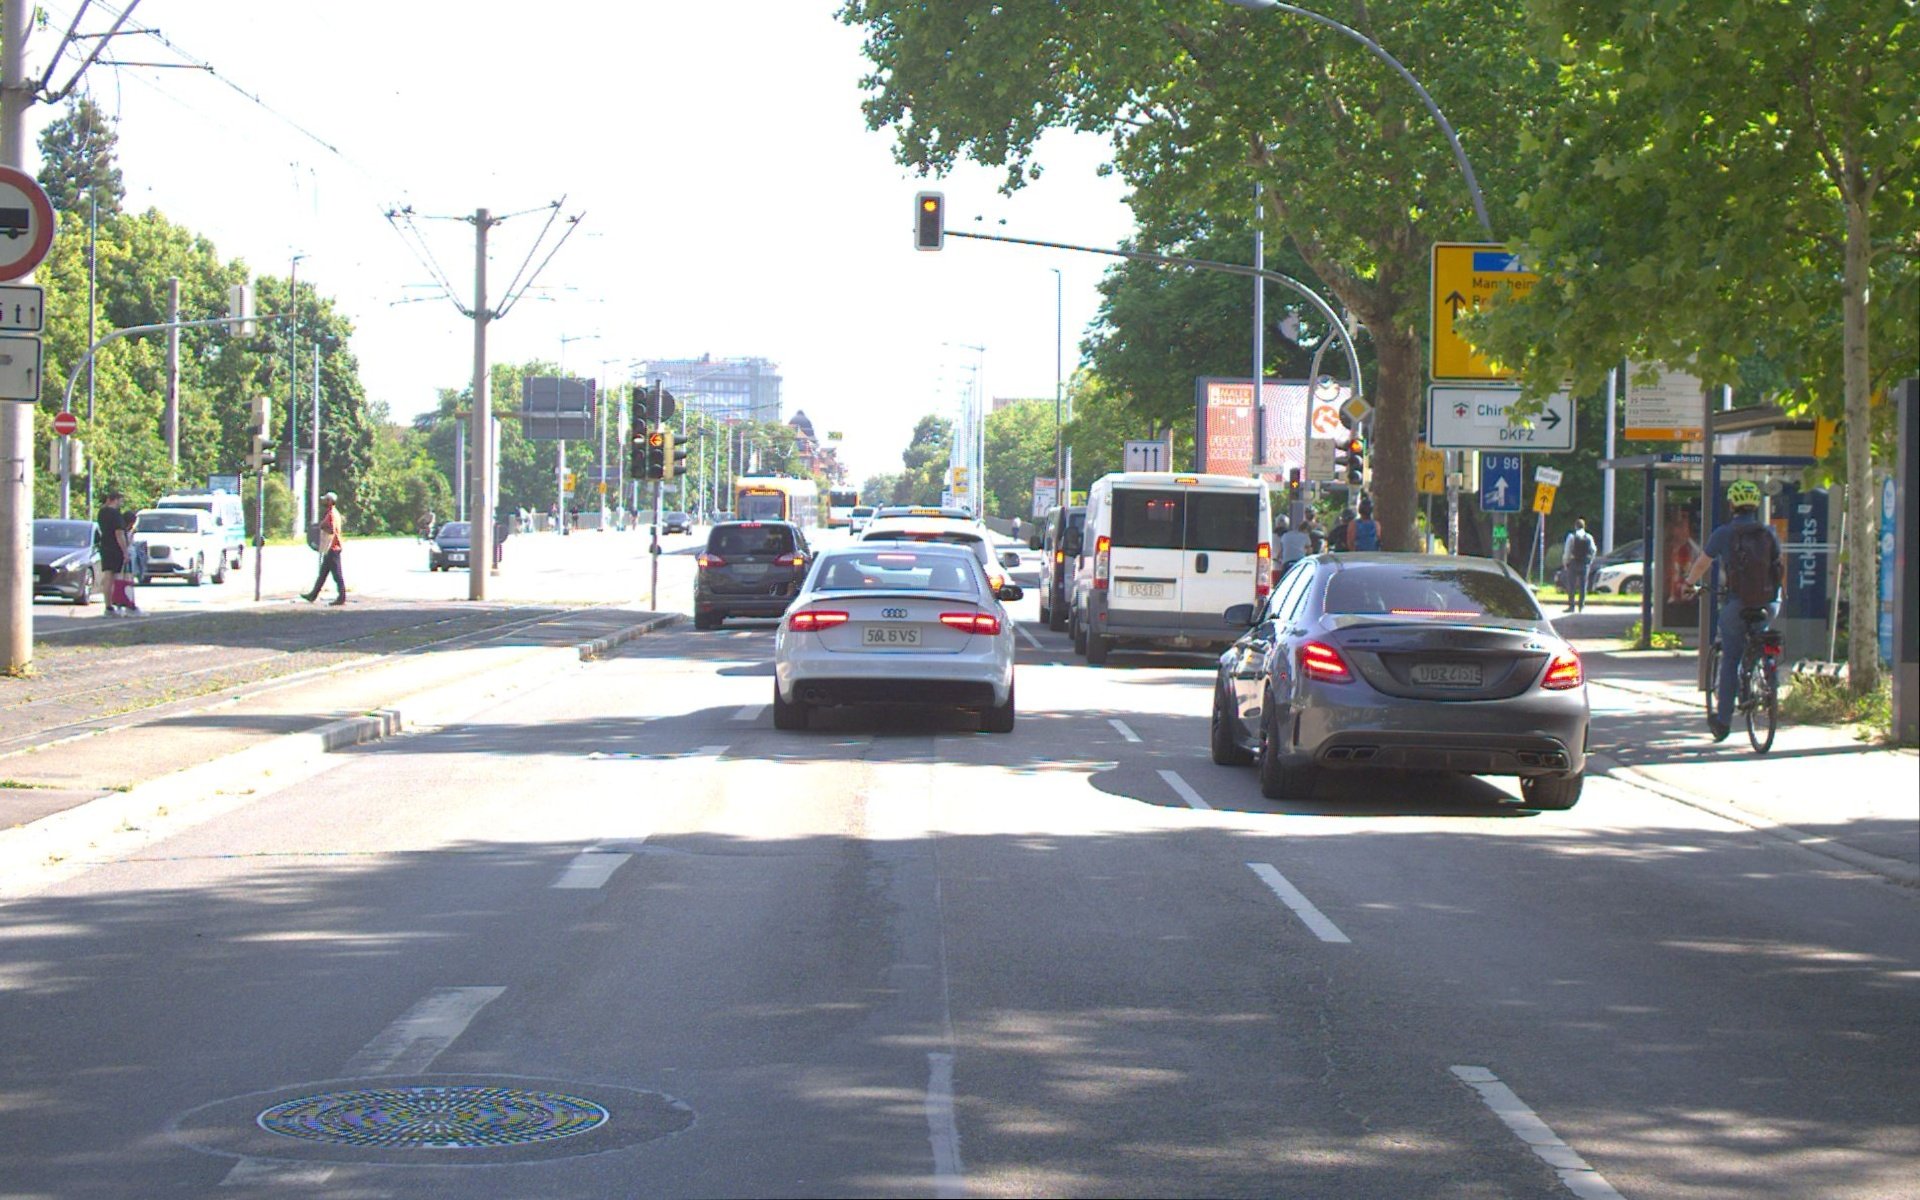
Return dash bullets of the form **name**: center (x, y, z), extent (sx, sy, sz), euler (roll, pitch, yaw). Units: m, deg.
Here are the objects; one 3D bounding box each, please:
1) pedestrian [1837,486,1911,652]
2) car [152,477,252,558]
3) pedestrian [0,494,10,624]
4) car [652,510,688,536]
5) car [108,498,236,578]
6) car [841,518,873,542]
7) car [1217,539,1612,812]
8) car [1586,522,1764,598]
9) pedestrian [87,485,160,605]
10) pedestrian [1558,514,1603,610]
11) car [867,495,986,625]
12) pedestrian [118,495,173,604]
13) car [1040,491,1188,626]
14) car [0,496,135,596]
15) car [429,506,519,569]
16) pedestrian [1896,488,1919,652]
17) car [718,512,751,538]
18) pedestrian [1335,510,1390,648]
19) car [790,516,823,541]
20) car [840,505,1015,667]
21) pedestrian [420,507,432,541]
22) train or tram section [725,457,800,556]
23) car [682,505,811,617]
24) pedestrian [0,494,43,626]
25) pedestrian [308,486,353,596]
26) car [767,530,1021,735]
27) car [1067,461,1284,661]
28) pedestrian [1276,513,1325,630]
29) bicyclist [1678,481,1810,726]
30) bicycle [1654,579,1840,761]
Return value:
- **pedestrian**: center (10.564, -0.366, 39.751), extent (0.613, 1.890, 0.694), euler (1, 1, -3)
- **car**: center (-23.081, -2.513, 104.807), extent (2.114, 2.374, 4.000), euler (1, 1, 0)
- **pedestrian**: center (-12.350, -0.525, 43.282), extent (0.593, 1.641, 0.554), euler (2, 1, 0)
- **car**: center (-18.468, -4.912, 218.955), extent (1.993, 1.635, 4.001), euler (1, 1, -2)
- **car**: center (-16.580, -1.313, 72.499), extent (1.763, 1.603, 3.860), euler (2, 1, 0)
- **car**: center (-6.969, -4.740, 232.954), extent (1.871, 1.603, 4.000), euler (2, 1, 2)
- **car**: center (2.620, 0.375, 20.683), extent (1.782, 1.415, 4.000), euler (2, 1, 0)
- **car**: center (16.773, -0.945, 80.763), extent (3.777, 1.666, 1.793), euler (2, 1, 1)
- **pedestrian**: center (-12.206, -0.804, 50.181), extent (0.775, 1.728, 0.754), euler (2, 1, 8)
- **pedestrian**: center (11.792, -0.728, 65.307), extent (0.778, 1.782, 0.763), euler (1, 1, 12)
- **car**: center (-0.515, -0.647, 53.274), extent (1.729, 1.895, 4.000), euler (2, 1, 0)
- **pedestrian**: center (-12.066, -0.749, 50.913), extent (0.537, 1.592, 0.577), euler (2, 1, 19)
- **car**: center (2.388, -0.673, 54.180), extent (2.072, 1.992, 4.058), euler (2, 1, 0)
- **car**: center (-15.450, -0.936, 58.439), extent (1.871, 1.603, 4.000), euler (2, 1, 0)
- **car**: center (-14.109, -1.821, 99.961), extent (1.993, 1.728, 4.000), euler (2, 1, 0)
- **pedestrian**: center (11.285, -0.352, 39.910), extent (0.613, 1.890, 0.598), euler (1, 1, -3)
- **car**: center (-14.864, -4.938, 226.495), extent (1.993, 1.635, 4.001), euler (1, 1, -2)
- **pedestrian**: center (5.715, -0.301, 48.866), extent (0.635, 1.939, 0.719), euler (2, 1, 0)
- **car**: center (-10.408, -4.856, 233.100), extent (1.871, 1.603, 4.000), euler (2, 1, 2)
- **car**: center (-0.344, -0.181, 36.809), extent (1.729, 1.599, 3.885), euler (2, 1, 0)
- **pedestrian**: center (-24.412, -3.480, 157.095), extent (0.420, 1.543, 0.552), euler (1, 1, 0)
- **train or tram section**: center (-8.340, -3.937, 145.832), extent (2.616, 4.001, 7.749), euler (2, 1, 0)
- **car**: center (-3.268, -0.626, 53.241), extent (1.729, 1.625, 4.000), euler (2, 1, 0)
- **pedestrian**: center (-12.132, -0.515, 44.196), extent (0.492, 1.673, 0.643), euler (2, 1, 0)
- **pedestrian**: center (-11.004, -1.033, 60.125), extent (0.624, 1.911, 0.690), euler (2, 1, 0)
- **car**: center (-0.487, 0.197, 26.600), extent (1.784, 1.416, 3.885), euler (2, 1, 0)
- **car**: center (2.496, -0.484, 40.884), extent (2.230, 2.204, 4.162), euler (2, 1, 0)
- **pedestrian**: center (4.995, -0.419, 50.434), extent (0.602, 1.689, 0.953), euler (-1, 1, 0)
- **bicyclist**: center (5.384, 0.013, 23.658), extent (0.634, 1.642, 0.979), euler (-1, 1, -1)
- **bicycle**: center (5.401, 0.456, 23.721), extent (0.714, 1.144, 2.178), euler (-1, 1, -1)
